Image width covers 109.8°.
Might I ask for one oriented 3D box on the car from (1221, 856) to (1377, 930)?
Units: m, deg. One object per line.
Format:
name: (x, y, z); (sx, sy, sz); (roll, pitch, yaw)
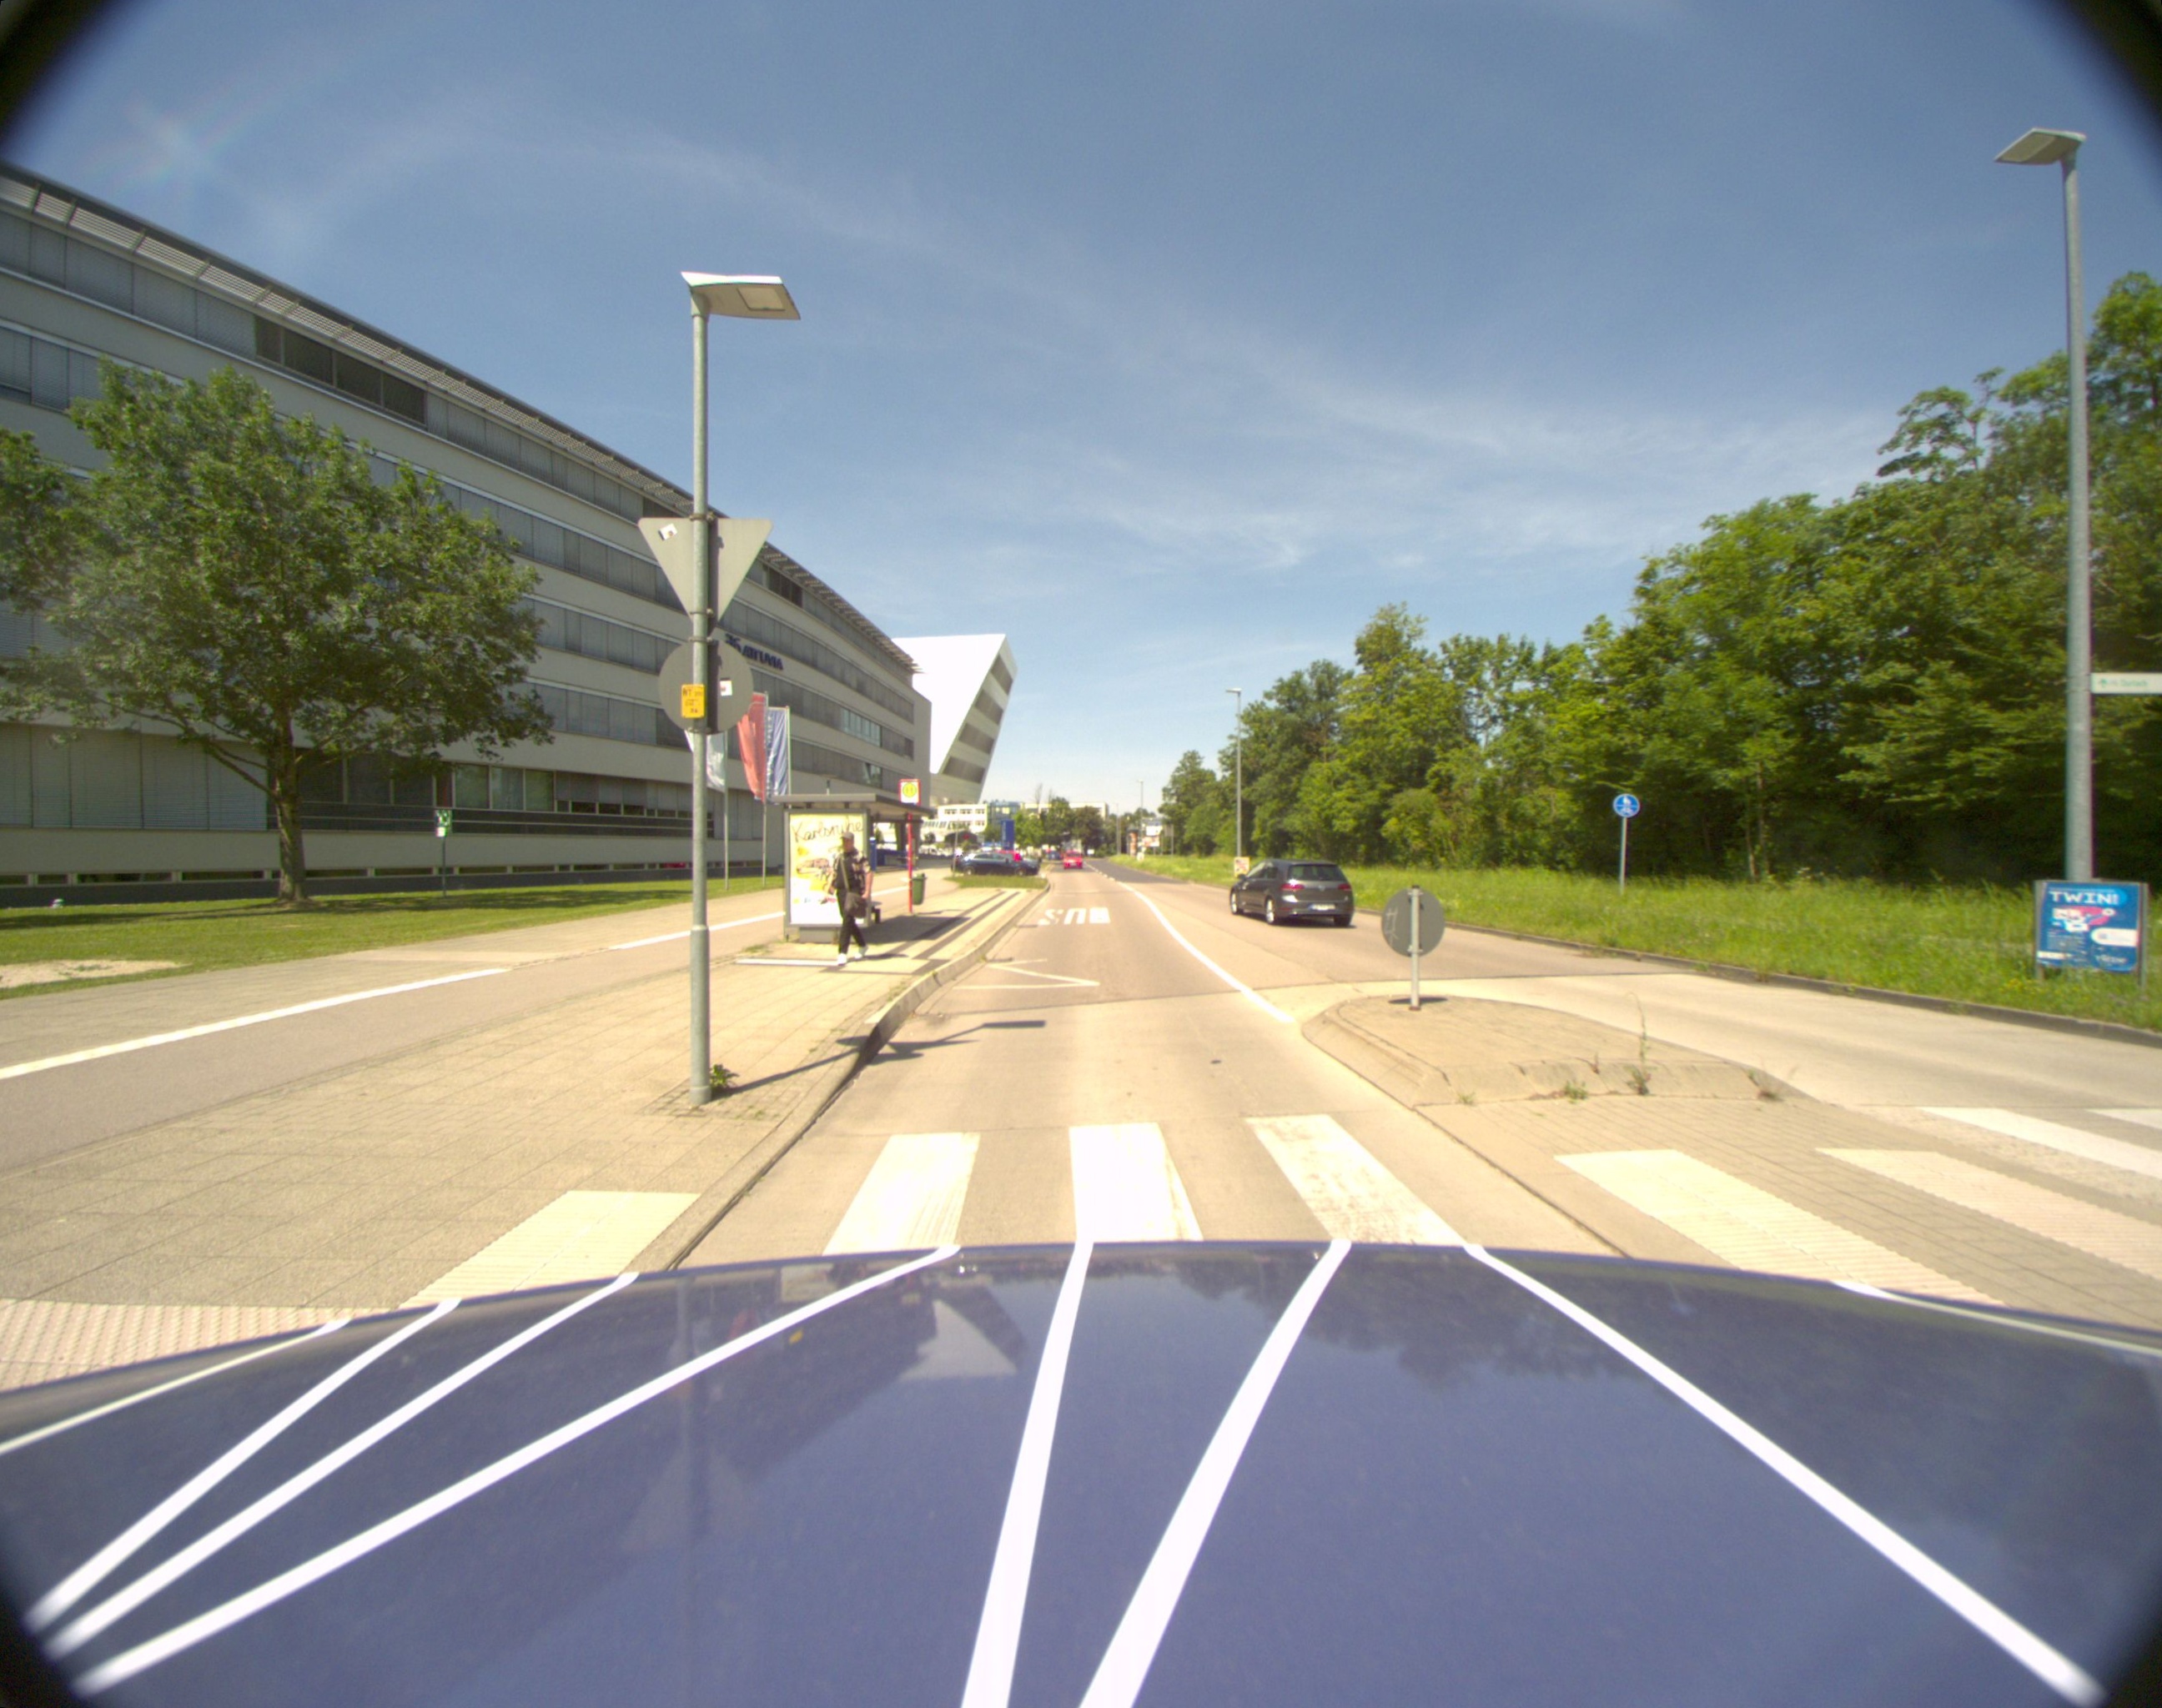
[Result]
car: (4.790, 0.797, 17.438); (1.999, 1.470, 4.287); (1, 0, -5)

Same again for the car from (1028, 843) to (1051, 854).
car: (-8.039, -1.075, 148.712); (4.204, 1.964, 1.704); (-1, 1, 5)

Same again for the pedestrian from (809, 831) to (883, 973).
pedestrian: (-3.139, 0.612, 10.211); (0.710, 1.812, 0.826); (2, 1, 0)

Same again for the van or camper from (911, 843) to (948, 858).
van or camper: (-24.974, -0.562, 125.606); (5.699, 2.376, 1.704); (-1, 1, 5)

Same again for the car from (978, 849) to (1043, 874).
car: (-4.339, 0.446, 46.883); (3.817, 1.477, 1.655); (1, 1, 1)

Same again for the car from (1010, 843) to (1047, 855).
car: (-9.828, -0.936, 142.944); (6.492, 2.137, 2.165); (-1, 1, 5)

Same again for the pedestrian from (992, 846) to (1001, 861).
pedestrian: (-9.315, -0.027, 83.573); (0.844, 1.650, 0.775); (-1, 1, -2)

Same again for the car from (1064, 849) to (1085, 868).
car: (-0.514, 0.349, 65.630); (1.662, 1.495, 3.356); (-1, 1, 1)

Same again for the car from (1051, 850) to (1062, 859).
car: (-3.999, 0.076, 124.173); (1.802, 1.490, 3.998); (-1, 1, -2)

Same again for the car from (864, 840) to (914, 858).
car: (-29.619, -0.732, 117.382); (6.962, 2.647, 2.255); (-1, 1, 7)

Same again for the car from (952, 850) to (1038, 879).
car: (-4.694, 0.576, 42.075); (4.580, 1.424, 1.826); (1, 1, -3)

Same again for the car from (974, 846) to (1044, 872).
car: (-4.629, 0.316, 49.296); (4.331, 1.555, 1.786); (1, 1, 0)

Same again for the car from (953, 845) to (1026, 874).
car: (-5.350, 0.318, 44.771); (3.997, 1.645, 1.839); (0, 1, 1)
